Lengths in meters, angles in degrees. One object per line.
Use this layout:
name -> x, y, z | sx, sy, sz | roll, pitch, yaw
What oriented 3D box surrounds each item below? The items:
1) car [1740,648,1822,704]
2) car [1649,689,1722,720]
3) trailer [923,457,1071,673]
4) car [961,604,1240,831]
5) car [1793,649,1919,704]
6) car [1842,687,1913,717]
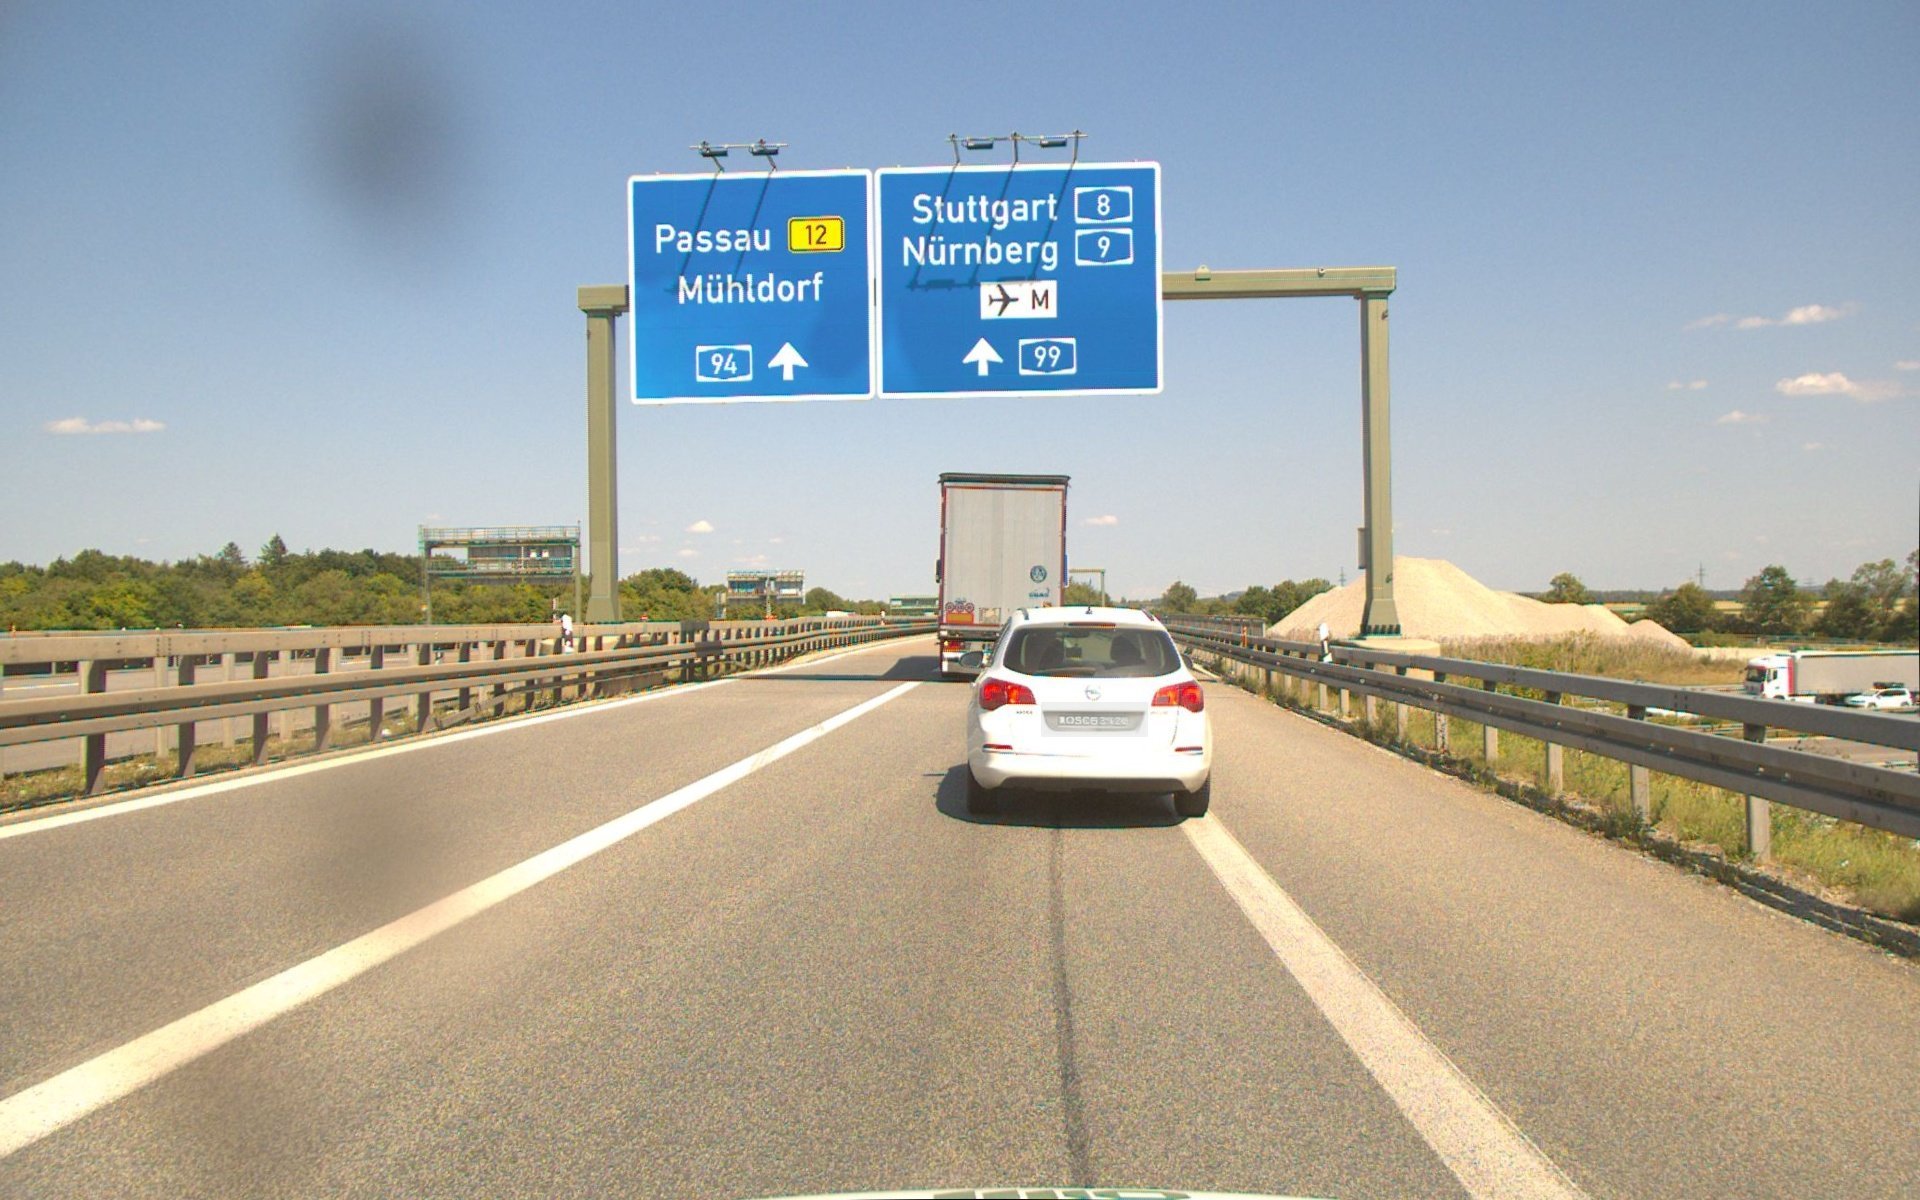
car -> 62.530, 5.773, 126.031 | 5.045, 4.033, 2.479 | 1, -1, -7
car -> 51.037, 7.342, 116.362 | 4.311, 2.049, 1.997 | 1, -1, -7
trailer -> 0.940, -0.544, 38.172 | 2.852, 4.218, 11.259 | 1, -1, 2
car -> 1.025, 0.798, 13.048 | 1.815, 1.468, 4.373 | 1, -1, 3
car -> 70.701, 5.903, 127.060 | 12.723, 4.033, 2.479 | 1, -1, -7
car -> 68.637, 7.624, 123.735 | 4.311, 2.049, 1.997 | 1, -1, -7
